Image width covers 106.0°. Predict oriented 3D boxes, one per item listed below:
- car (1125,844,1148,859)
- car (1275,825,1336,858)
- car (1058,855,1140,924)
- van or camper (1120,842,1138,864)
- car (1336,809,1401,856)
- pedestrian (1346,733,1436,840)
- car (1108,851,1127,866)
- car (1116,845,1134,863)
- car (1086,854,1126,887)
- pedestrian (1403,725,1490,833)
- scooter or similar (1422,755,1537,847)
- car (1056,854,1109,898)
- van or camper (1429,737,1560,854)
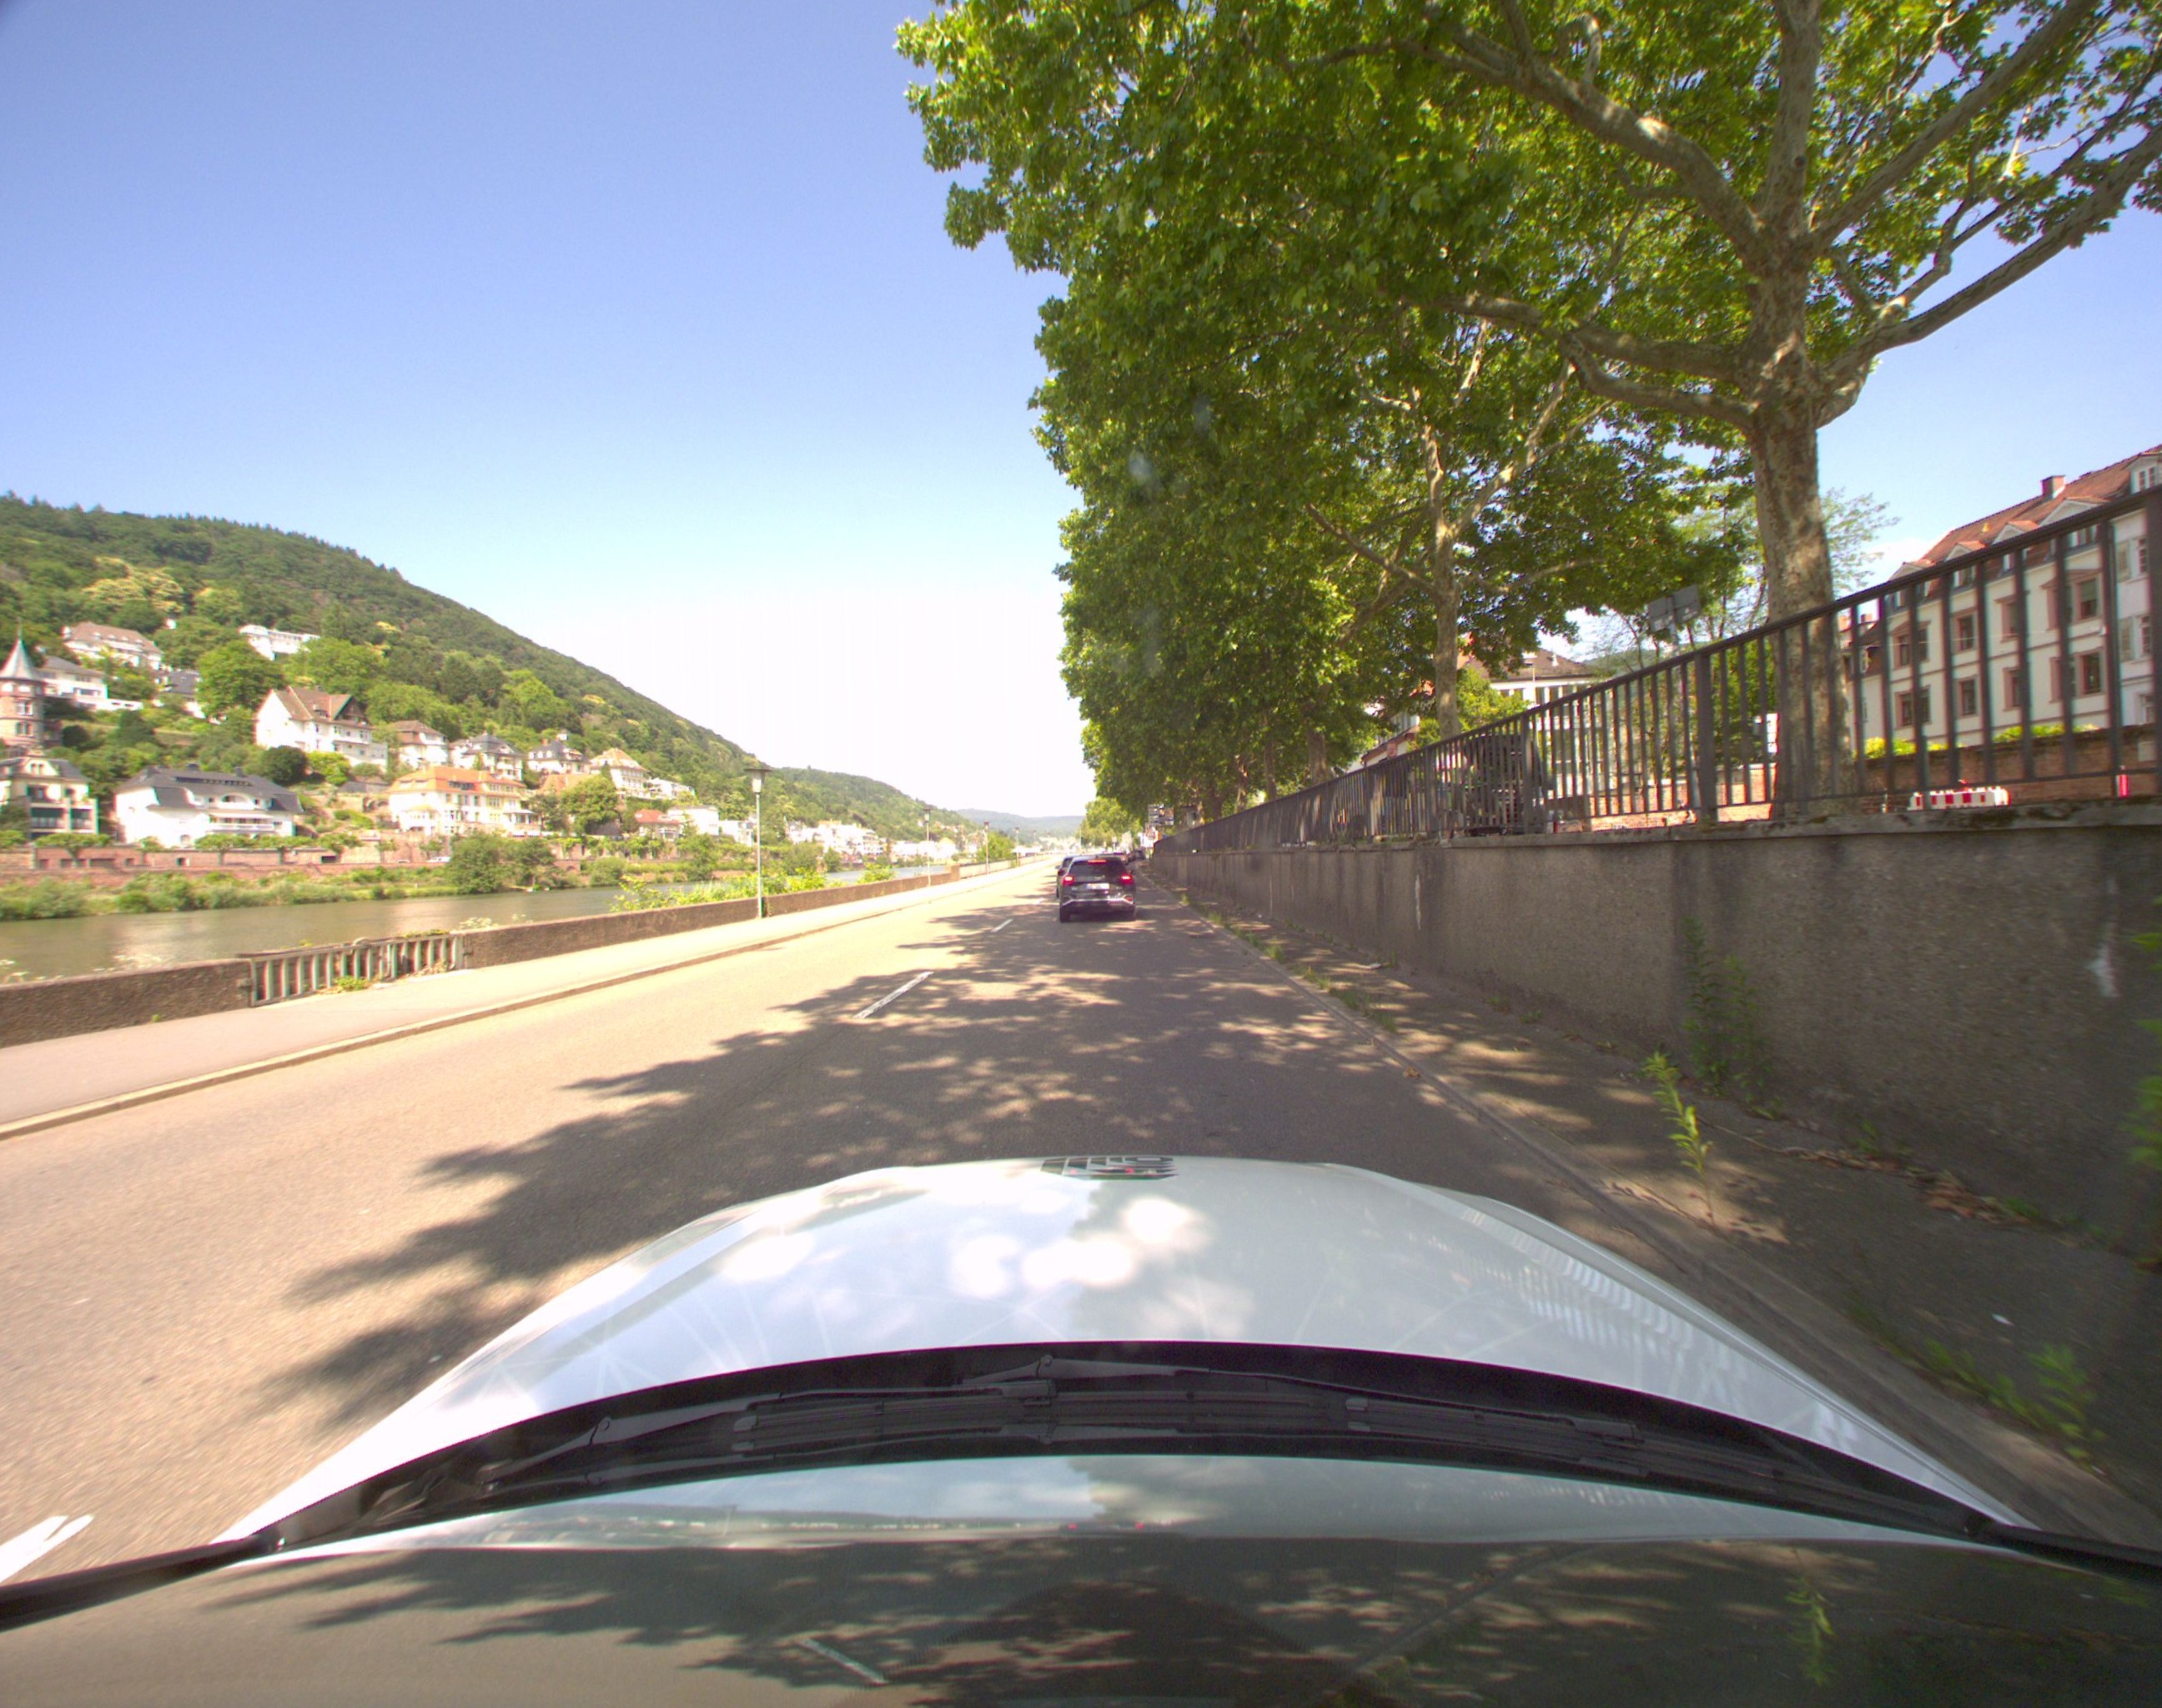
[{"bbox_3d":[8.128,-0.362,120.171,3.087,2.013,5.826,-5,0,1],"label":"car"},{"bbox_3d":[10.618,-0.575,38.293,1.757,1.469,4.025,-1,0,30],"label":"car"},{"bbox_3d":[0.447,0.790,20.183,1.822,1.486,4.001,-1,0,1],"label":"car"},{"bbox_3d":[6.448,-0.096,110.130,2.300,2.847,4.249,-3,0,3],"label":"van or camper"},{"bbox_3d":[10.302,-0.717,29.037,1.633,1.500,3.841,-2,-1,27],"label":"car"},{"bbox_3d":[4.959,-1.053,13.108,0.934,1.579,1.027,-5,0,0],"label":"pedestrian"},{"bbox_3d":[3.684,0.447,82.380,1.822,1.444,4.001,-1,0,1],"label":"car"},{"bbox_3d":[5.435,-0.006,101.417,1.986,2.169,4.001,-3,0,1],"label":"car"},{"bbox_3d":[1.197,0.751,39.669,1.822,1.486,4.001,-1,0,1],"label":"car"},{"bbox_3d":[5.066,-1.006,11.333,0.678,1.365,0.990,-5,0,1],"label":"pedestrian"},{"bbox_3d":[5.022,-0.645,10.346,0.852,1.026,1.108,-5,0,1],"label":"scooter or similar"},{"bbox_3d":[0.102,0.768,30.353,1.822,1.511,4.001,-1,0,1],"label":"car"},{"bbox_3d":[10.316,-1.162,19.900,2.315,2.184,7.402,0,-1,31],"label":"van or camper"}]
